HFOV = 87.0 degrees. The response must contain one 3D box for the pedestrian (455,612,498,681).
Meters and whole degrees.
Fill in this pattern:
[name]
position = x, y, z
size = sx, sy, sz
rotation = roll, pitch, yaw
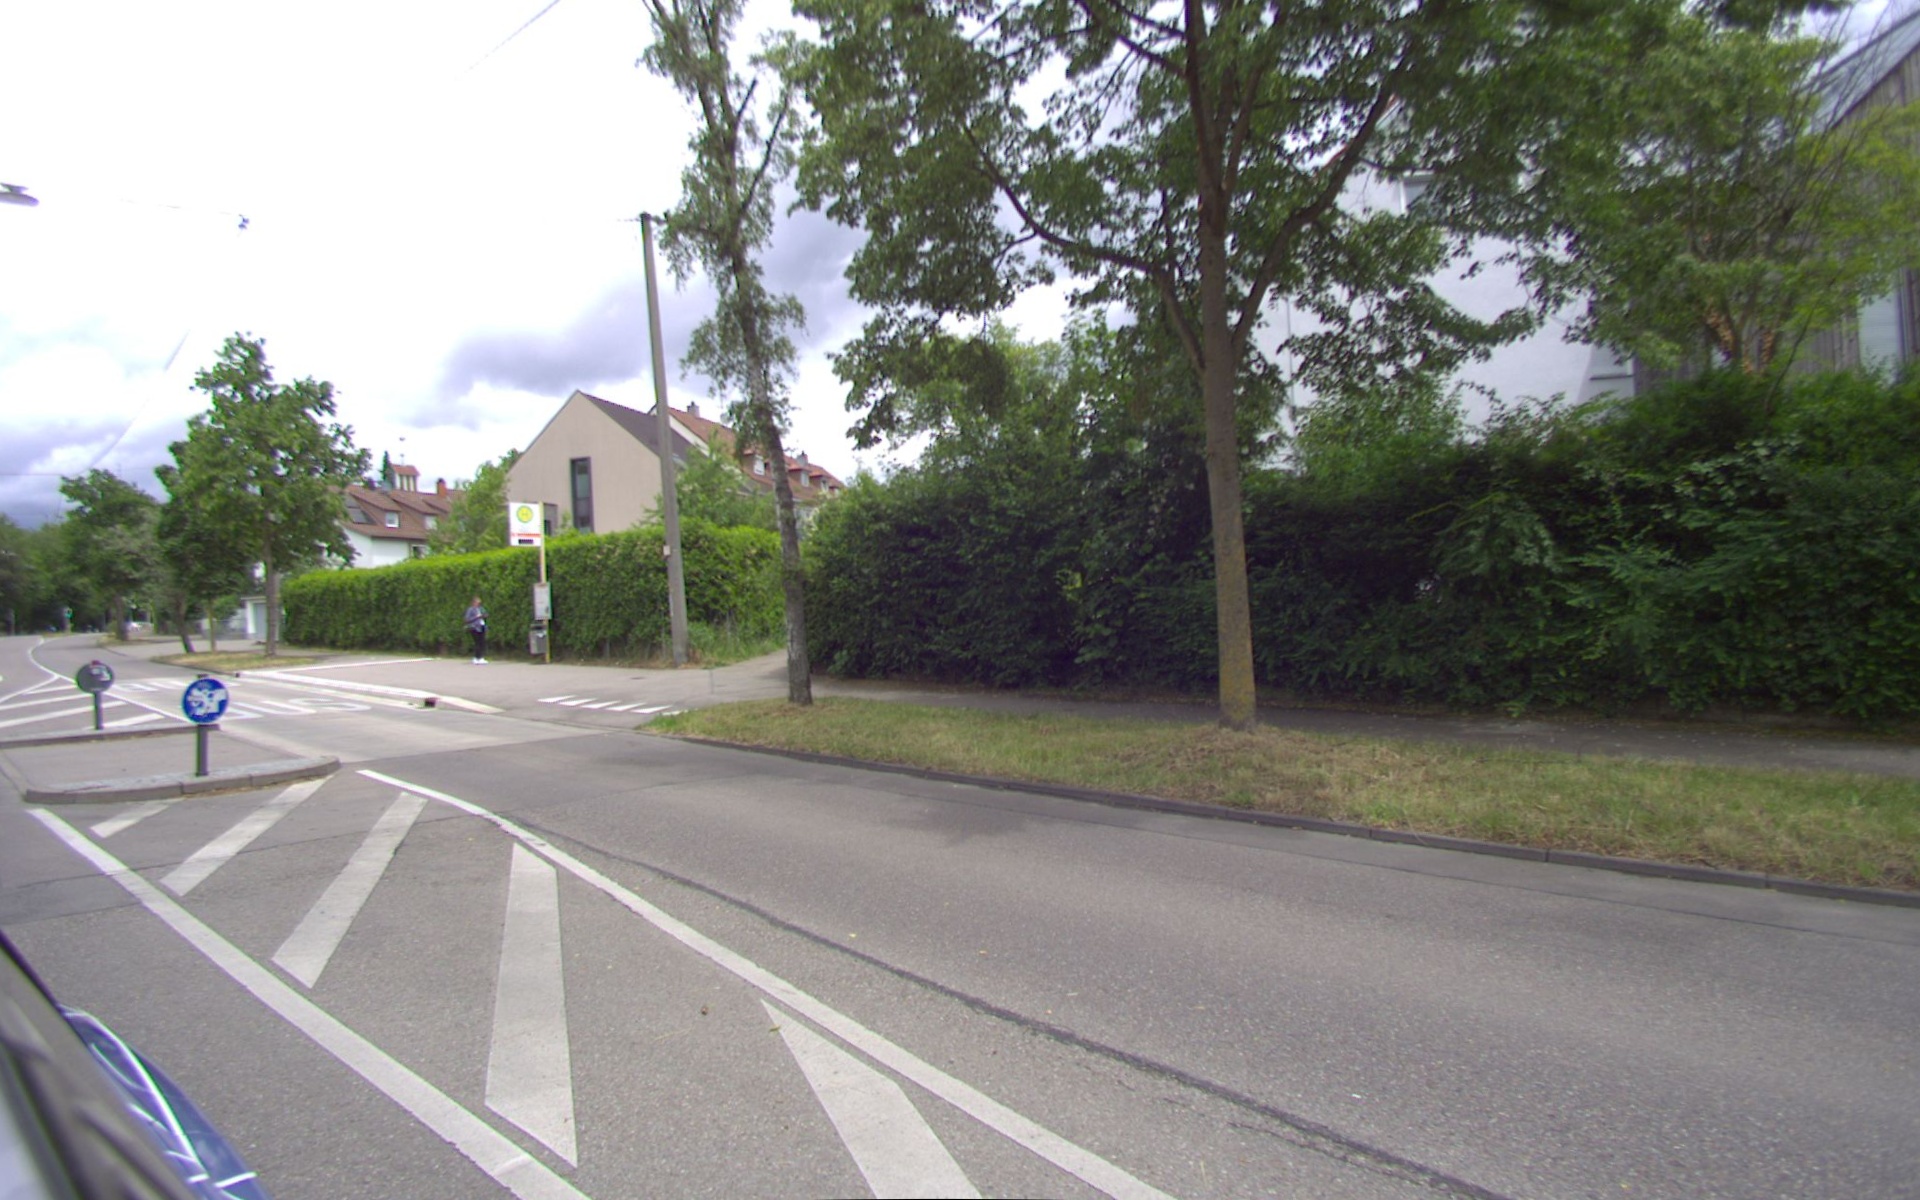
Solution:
[pedestrian]
position = -12.484, 1.198, 26.128
size = 0.777, 1.723, 0.685
rotation = -3, -1, 38
